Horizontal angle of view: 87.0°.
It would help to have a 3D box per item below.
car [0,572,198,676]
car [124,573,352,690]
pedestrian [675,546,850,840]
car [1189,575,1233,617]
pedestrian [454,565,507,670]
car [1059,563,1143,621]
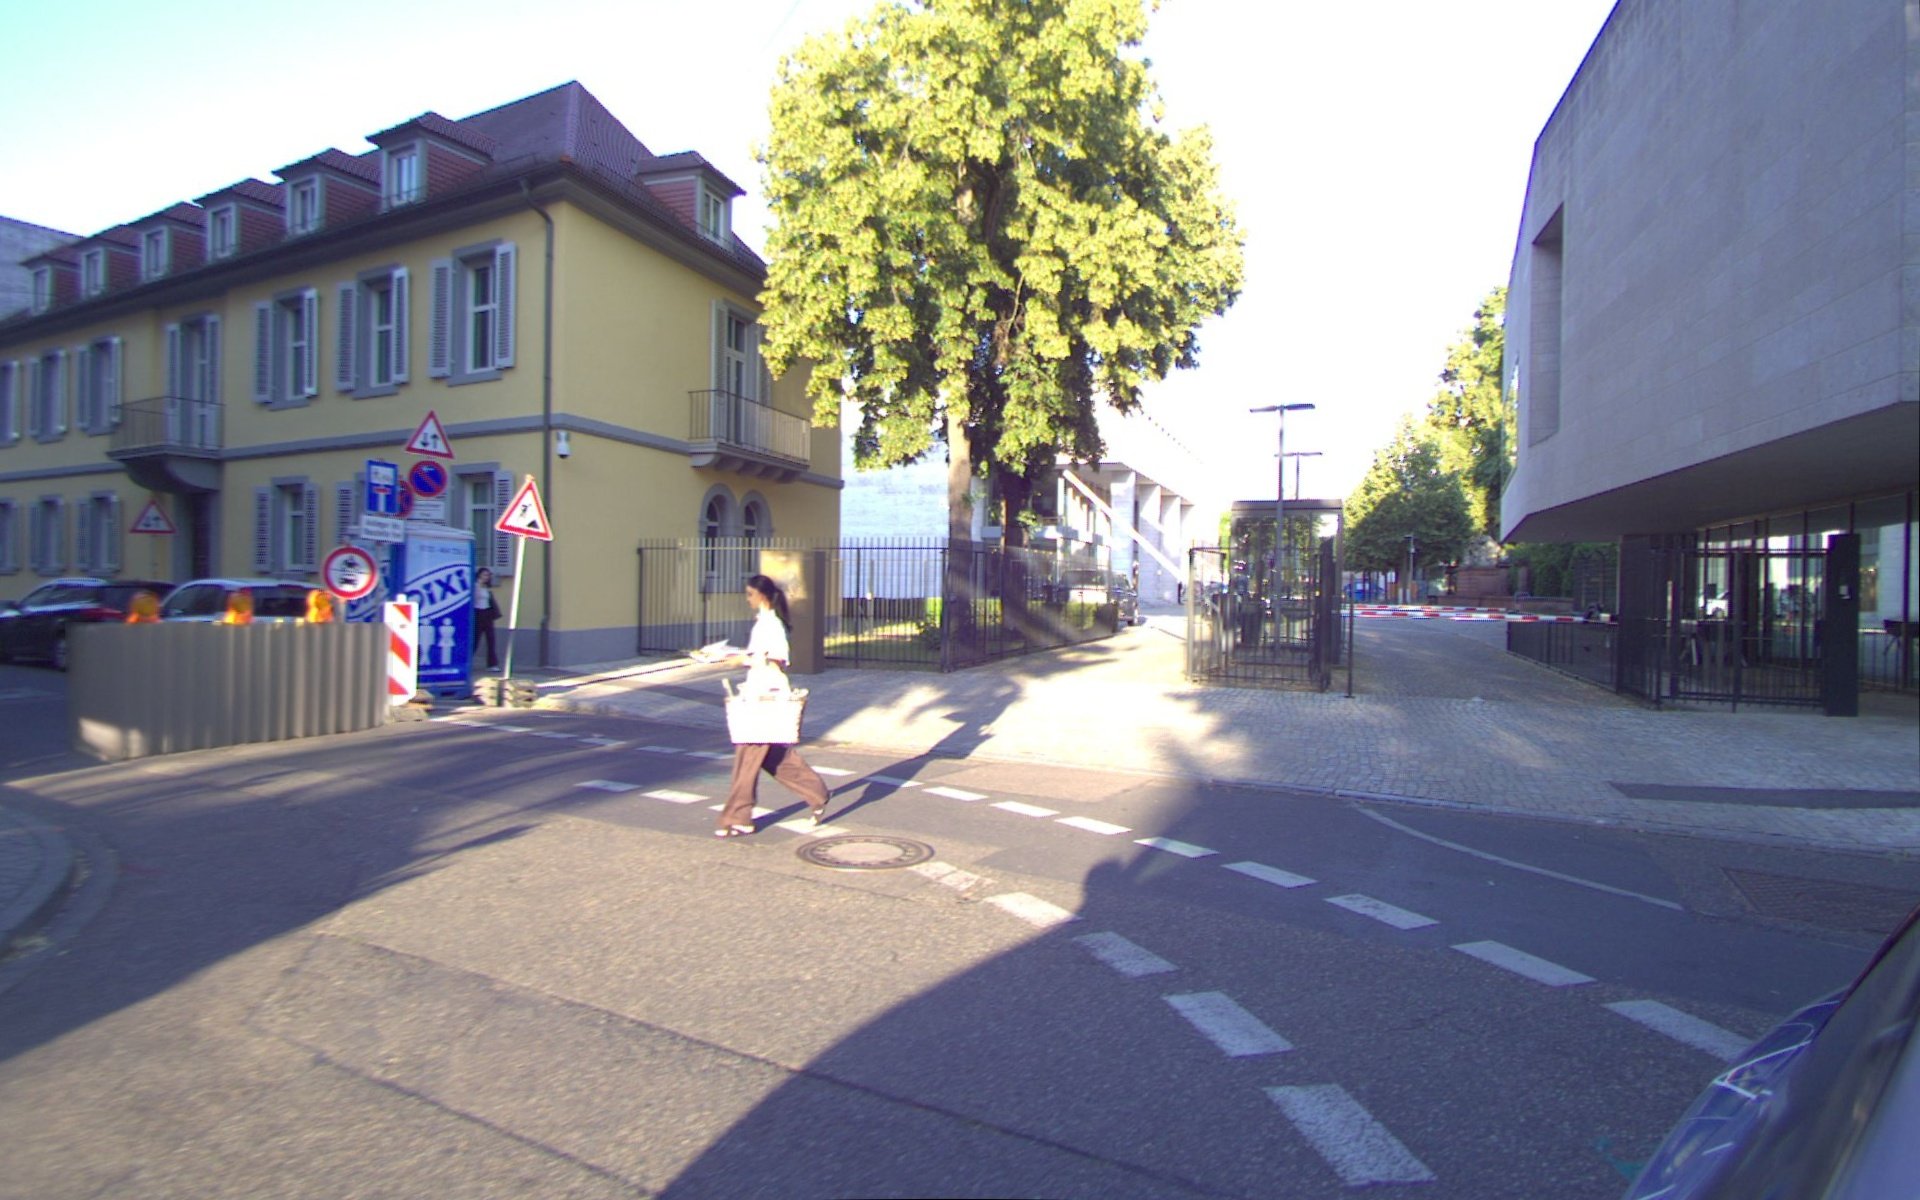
[{"bbox_3d":[-14.607,0.333,16.943,3.945,1.539,1.529,1,1,30],"label":"car"},{"bbox_3d":[-10.675,0.414,14.940,3.193,1.539,1.529,1,-1,30],"label":"car"},{"bbox_3d":[-1.231,0.522,6.253,0.940,1.679,0.641,0,1,-23],"label":"pedestrian"},{"bbox_3d":[10.369,-0.209,41.783,1.686,1.604,3.663,0,2,15],"label":"car"},{"bbox_3d":[-7.626,0.264,16.103,0.668,1.615,0.463,1,1,32],"label":"pedestrian"},{"bbox_3d":[4.810,-0.299,34.130,1.692,1.758,4.030,3,2,24],"label":"car"}]
